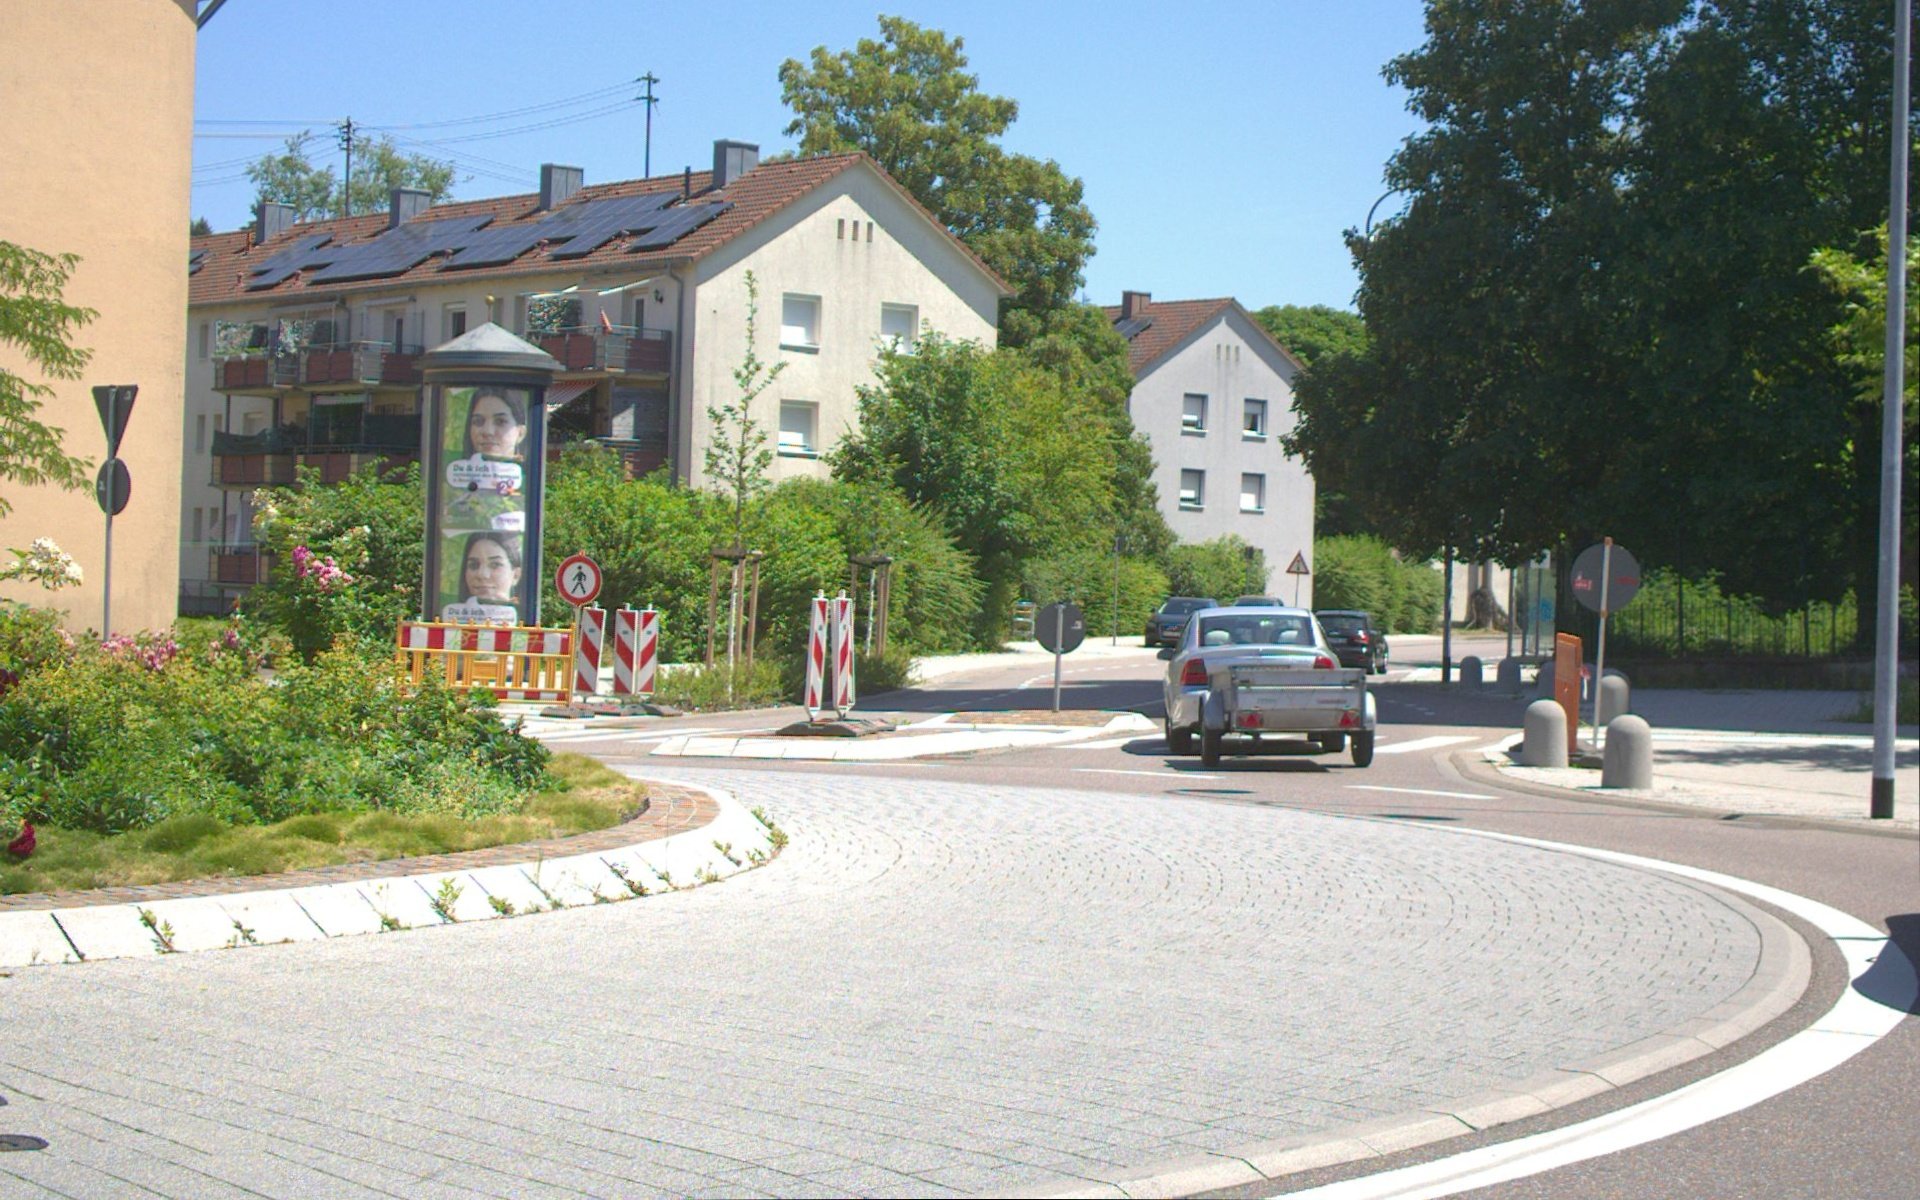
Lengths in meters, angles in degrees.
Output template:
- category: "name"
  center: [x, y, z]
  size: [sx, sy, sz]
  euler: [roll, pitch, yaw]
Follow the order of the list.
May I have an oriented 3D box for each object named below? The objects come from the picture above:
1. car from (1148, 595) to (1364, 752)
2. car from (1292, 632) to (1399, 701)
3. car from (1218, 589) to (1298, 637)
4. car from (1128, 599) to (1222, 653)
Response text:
- category: "car"
  center: [2.849, 0.676, 33.763]
  size: [1.738, 1.431, 3.711]
  euler: [0, 0, -1]
- category: "car"
  center: [8.640, 1.460, 76.902]
  size: [1.740, 1.431, 3.707]
  euler: [0, 0, 17]
- category: "car"
  center: [9.326, 0.394, 107.353]
  size: [1.740, 1.431, 3.707]
  euler: [0, 0, 18]
- category: "car"
  center: [5.987, 0.699, 95.383]
  size: [1.740, 1.431, 3.707]
  euler: [0, 0, 18]
